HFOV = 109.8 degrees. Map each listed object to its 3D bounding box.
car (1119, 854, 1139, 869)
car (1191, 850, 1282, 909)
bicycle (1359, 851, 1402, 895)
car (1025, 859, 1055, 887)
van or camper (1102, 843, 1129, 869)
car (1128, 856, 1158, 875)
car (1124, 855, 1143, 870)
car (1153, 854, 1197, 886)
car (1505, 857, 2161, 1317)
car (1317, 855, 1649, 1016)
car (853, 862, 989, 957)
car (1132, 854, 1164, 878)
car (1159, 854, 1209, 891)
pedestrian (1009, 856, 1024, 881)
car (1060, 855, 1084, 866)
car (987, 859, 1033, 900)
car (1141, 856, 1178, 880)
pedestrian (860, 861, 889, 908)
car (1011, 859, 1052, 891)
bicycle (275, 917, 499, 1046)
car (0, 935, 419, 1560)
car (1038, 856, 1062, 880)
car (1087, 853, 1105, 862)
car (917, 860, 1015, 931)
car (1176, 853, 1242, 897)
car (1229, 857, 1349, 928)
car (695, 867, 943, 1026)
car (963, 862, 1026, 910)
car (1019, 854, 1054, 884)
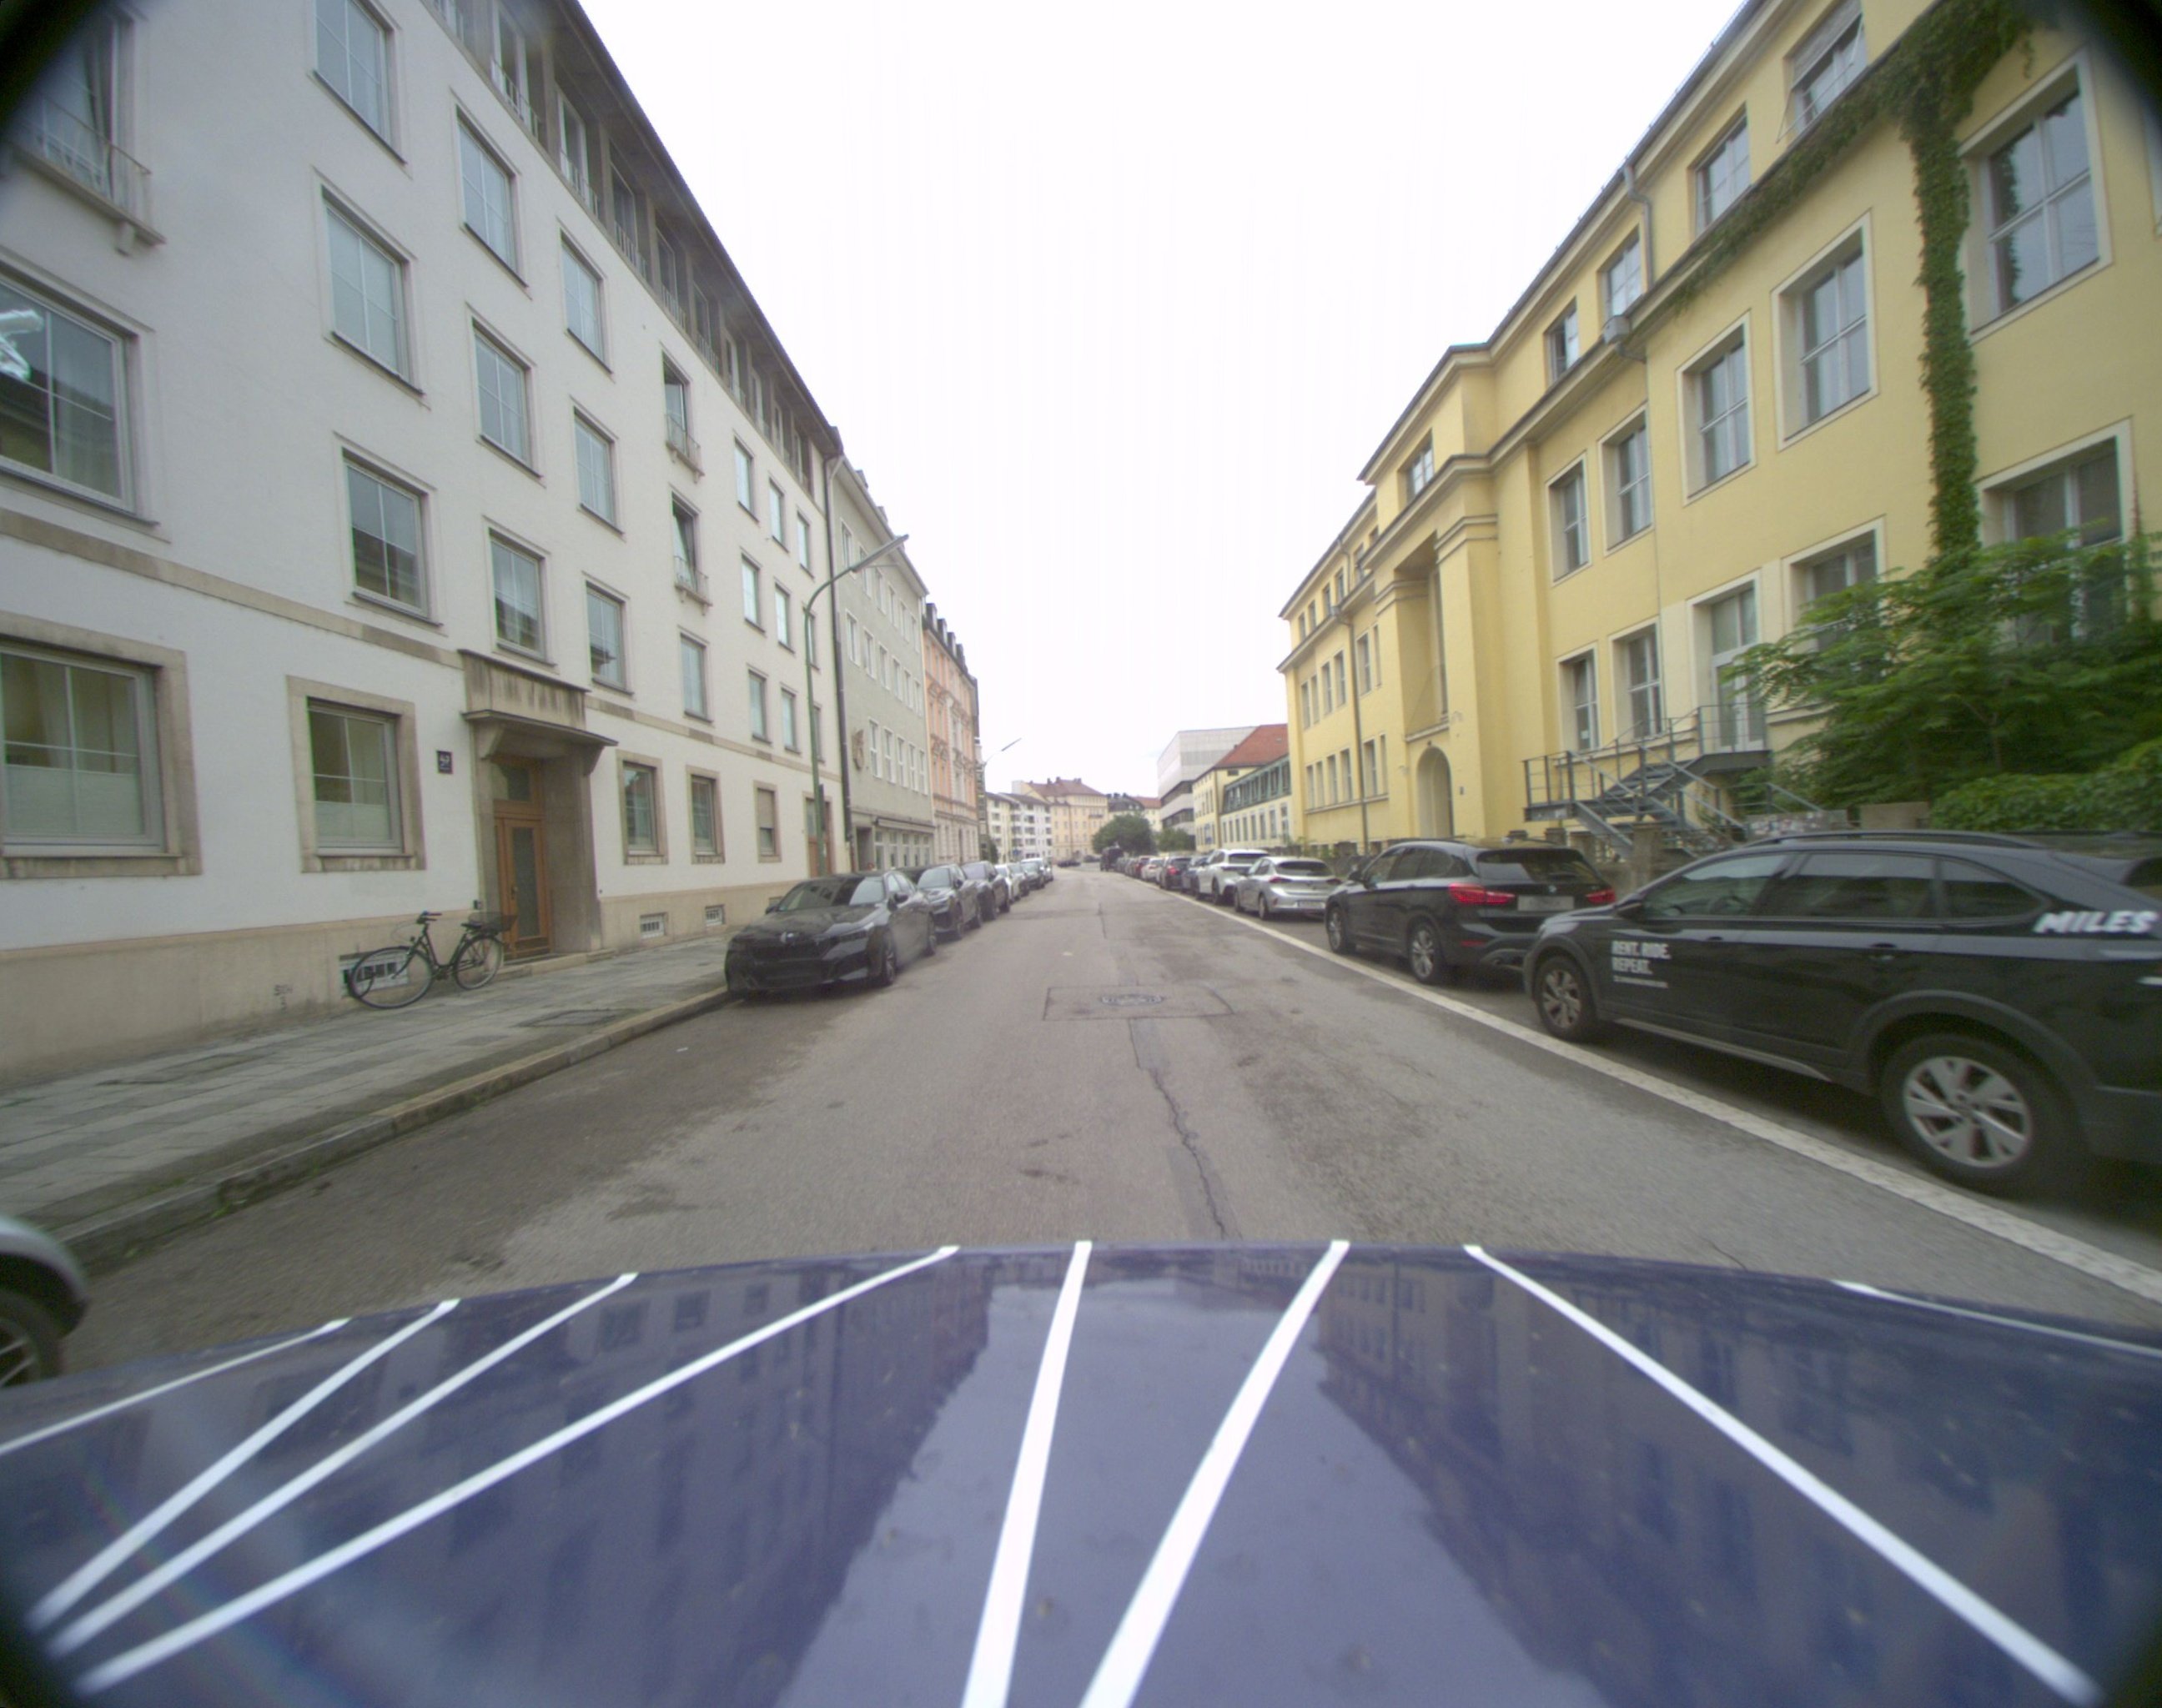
[{"bbox_3d":[4.831,0.749,76.843,1.700,1.553,3.867,0,0,-2],"label":"car"},{"bbox_3d":[4.606,0.703,23.091,1.684,1.624,4.356,1,0,-3],"label":"car"},{"bbox_3d":[8.780,0.543,22.319,0.578,1.182,1.562,-6,0,1],"label":"bicycle"},{"bbox_3d":[-2.501,1.131,46.235,1.603,1.442,4.300,-5,0,-3],"label":"car"},{"bbox_3d":[3.927,0.210,87.650,2.142,2.791,5.569,-2,0,-7],"label":"van or camper"},{"bbox_3d":[4.573,0.817,56.350,1.679,1.396,3.989,0,0,-4],"label":"car"},{"bbox_3d":[4.925,0.774,72.007,1.699,1.396,4.001,0,0,2],"label":"car"},{"bbox_3d":[4.756,0.762,38.724,1.727,1.518,4.087,1,0,0],"label":"car"},{"bbox_3d":[4.475,0.789,4.271,1.786,1.529,4.148,0,0,-2],"label":"car"},{"bbox_3d":[4.510,0.787,9.379,1.786,1.529,4.194,0,0,-2],"label":"car"},{"bbox_3d":[-3.238,1.059,16.277,1.783,1.575,4.271,-5,0,1],"label":"car"},{"bbox_3d":[4.512,0.759,51.482,1.679,1.557,3.996,0,0,-2],"label":"car"},{"bbox_3d":[4.450,0.768,33.302,1.684,1.487,3.985,0,0,0],"label":"car"},{"bbox_3d":[-4.444,0.998,52.095,0.863,1.652,0.647,-3,0,0],"label":"pedestrian"},{"bbox_3d":[-1.727,1.172,143.085,4.248,1.849,1.999,-2,0,-5],"label":"car"},{"bbox_3d":[-3.171,1.097,34.706,1.697,1.574,4.082,-6,0,-2],"label":"car"},{"bbox_3d":[4.694,0.794,45.832,1.679,1.390,3.996,0,0,-2],"label":"car"},{"bbox_3d":[-7.261,1.054,26.771,0.736,1.616,0.828,-2,1,1],"label":"pedestrian"},{"bbox_3d":[-2.648,1.111,41.358,1.696,1.442,4.083,-5,0,2],"label":"car"},{"bbox_3d":[-7.865,1.384,8.775,0.660,1.120,2.028,-2,0,1],"label":"bicycle"},{"bbox_3d":[-3.781,1.195,1.320,1.676,1.526,3.881,-6,0,1],"label":"car"},{"bbox_3d":[-2.295,1.016,57.335,1.608,1.632,3.631,-4,0,-1],"label":"car"},{"bbox_3d":[3.533,0.854,178.851,3.997,1.849,2.000,-2,1,1],"label":"car"},{"bbox_3d":[-3.045,1.054,21.061,1.783,1.575,4.330,-5,0,2],"label":"car"},{"bbox_3d":[4.723,0.740,28.459,1.684,1.496,3.973,0,0,-2],"label":"car"},{"bbox_3d":[4.694,0.804,17.718,1.684,1.417,3.894,1,0,-1],"label":"car"},{"bbox_3d":[-3.390,1.089,10.987,1.860,1.535,4.815,-5,0,-1],"label":"car"},{"bbox_3d":[-3.163,1.123,28.489,1.696,1.455,4.083,-5,0,1],"label":"car"},{"bbox_3d":[-2.994,0.997,52.053,1.845,1.775,4.895,-6,0,1],"label":"car"}]
